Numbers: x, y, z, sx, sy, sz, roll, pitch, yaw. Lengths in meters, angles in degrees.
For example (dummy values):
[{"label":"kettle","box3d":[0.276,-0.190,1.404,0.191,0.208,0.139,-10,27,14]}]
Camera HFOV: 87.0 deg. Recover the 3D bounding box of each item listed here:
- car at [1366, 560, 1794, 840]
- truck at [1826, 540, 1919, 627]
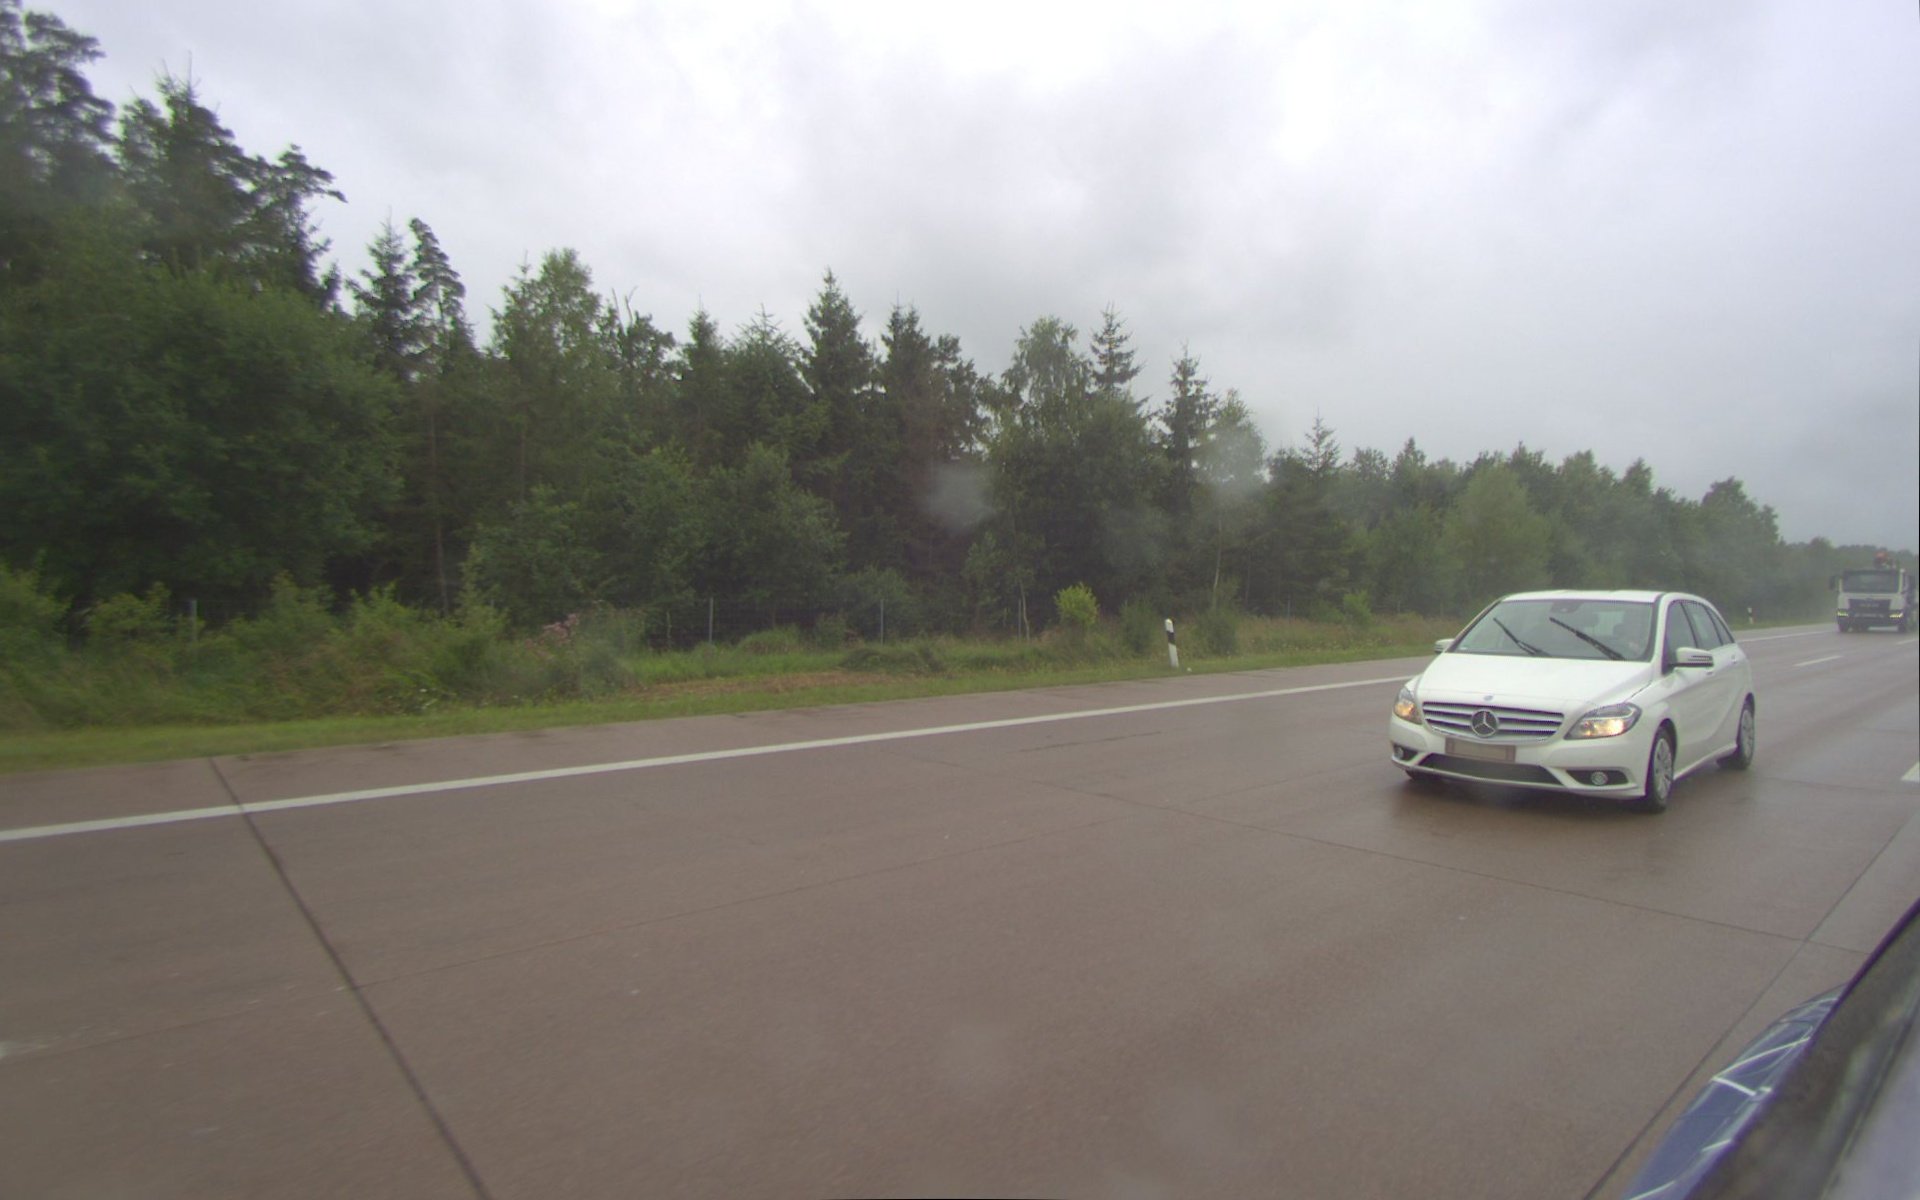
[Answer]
[{"label":"car","box3d":[5.432,0.619,8.567,4.661,1.750,1.811,0,0,-42]},{"label":"truck","box3d":[43.638,-0.750,47.667,7.815,3.777,3.240,0,0,-41]}]
